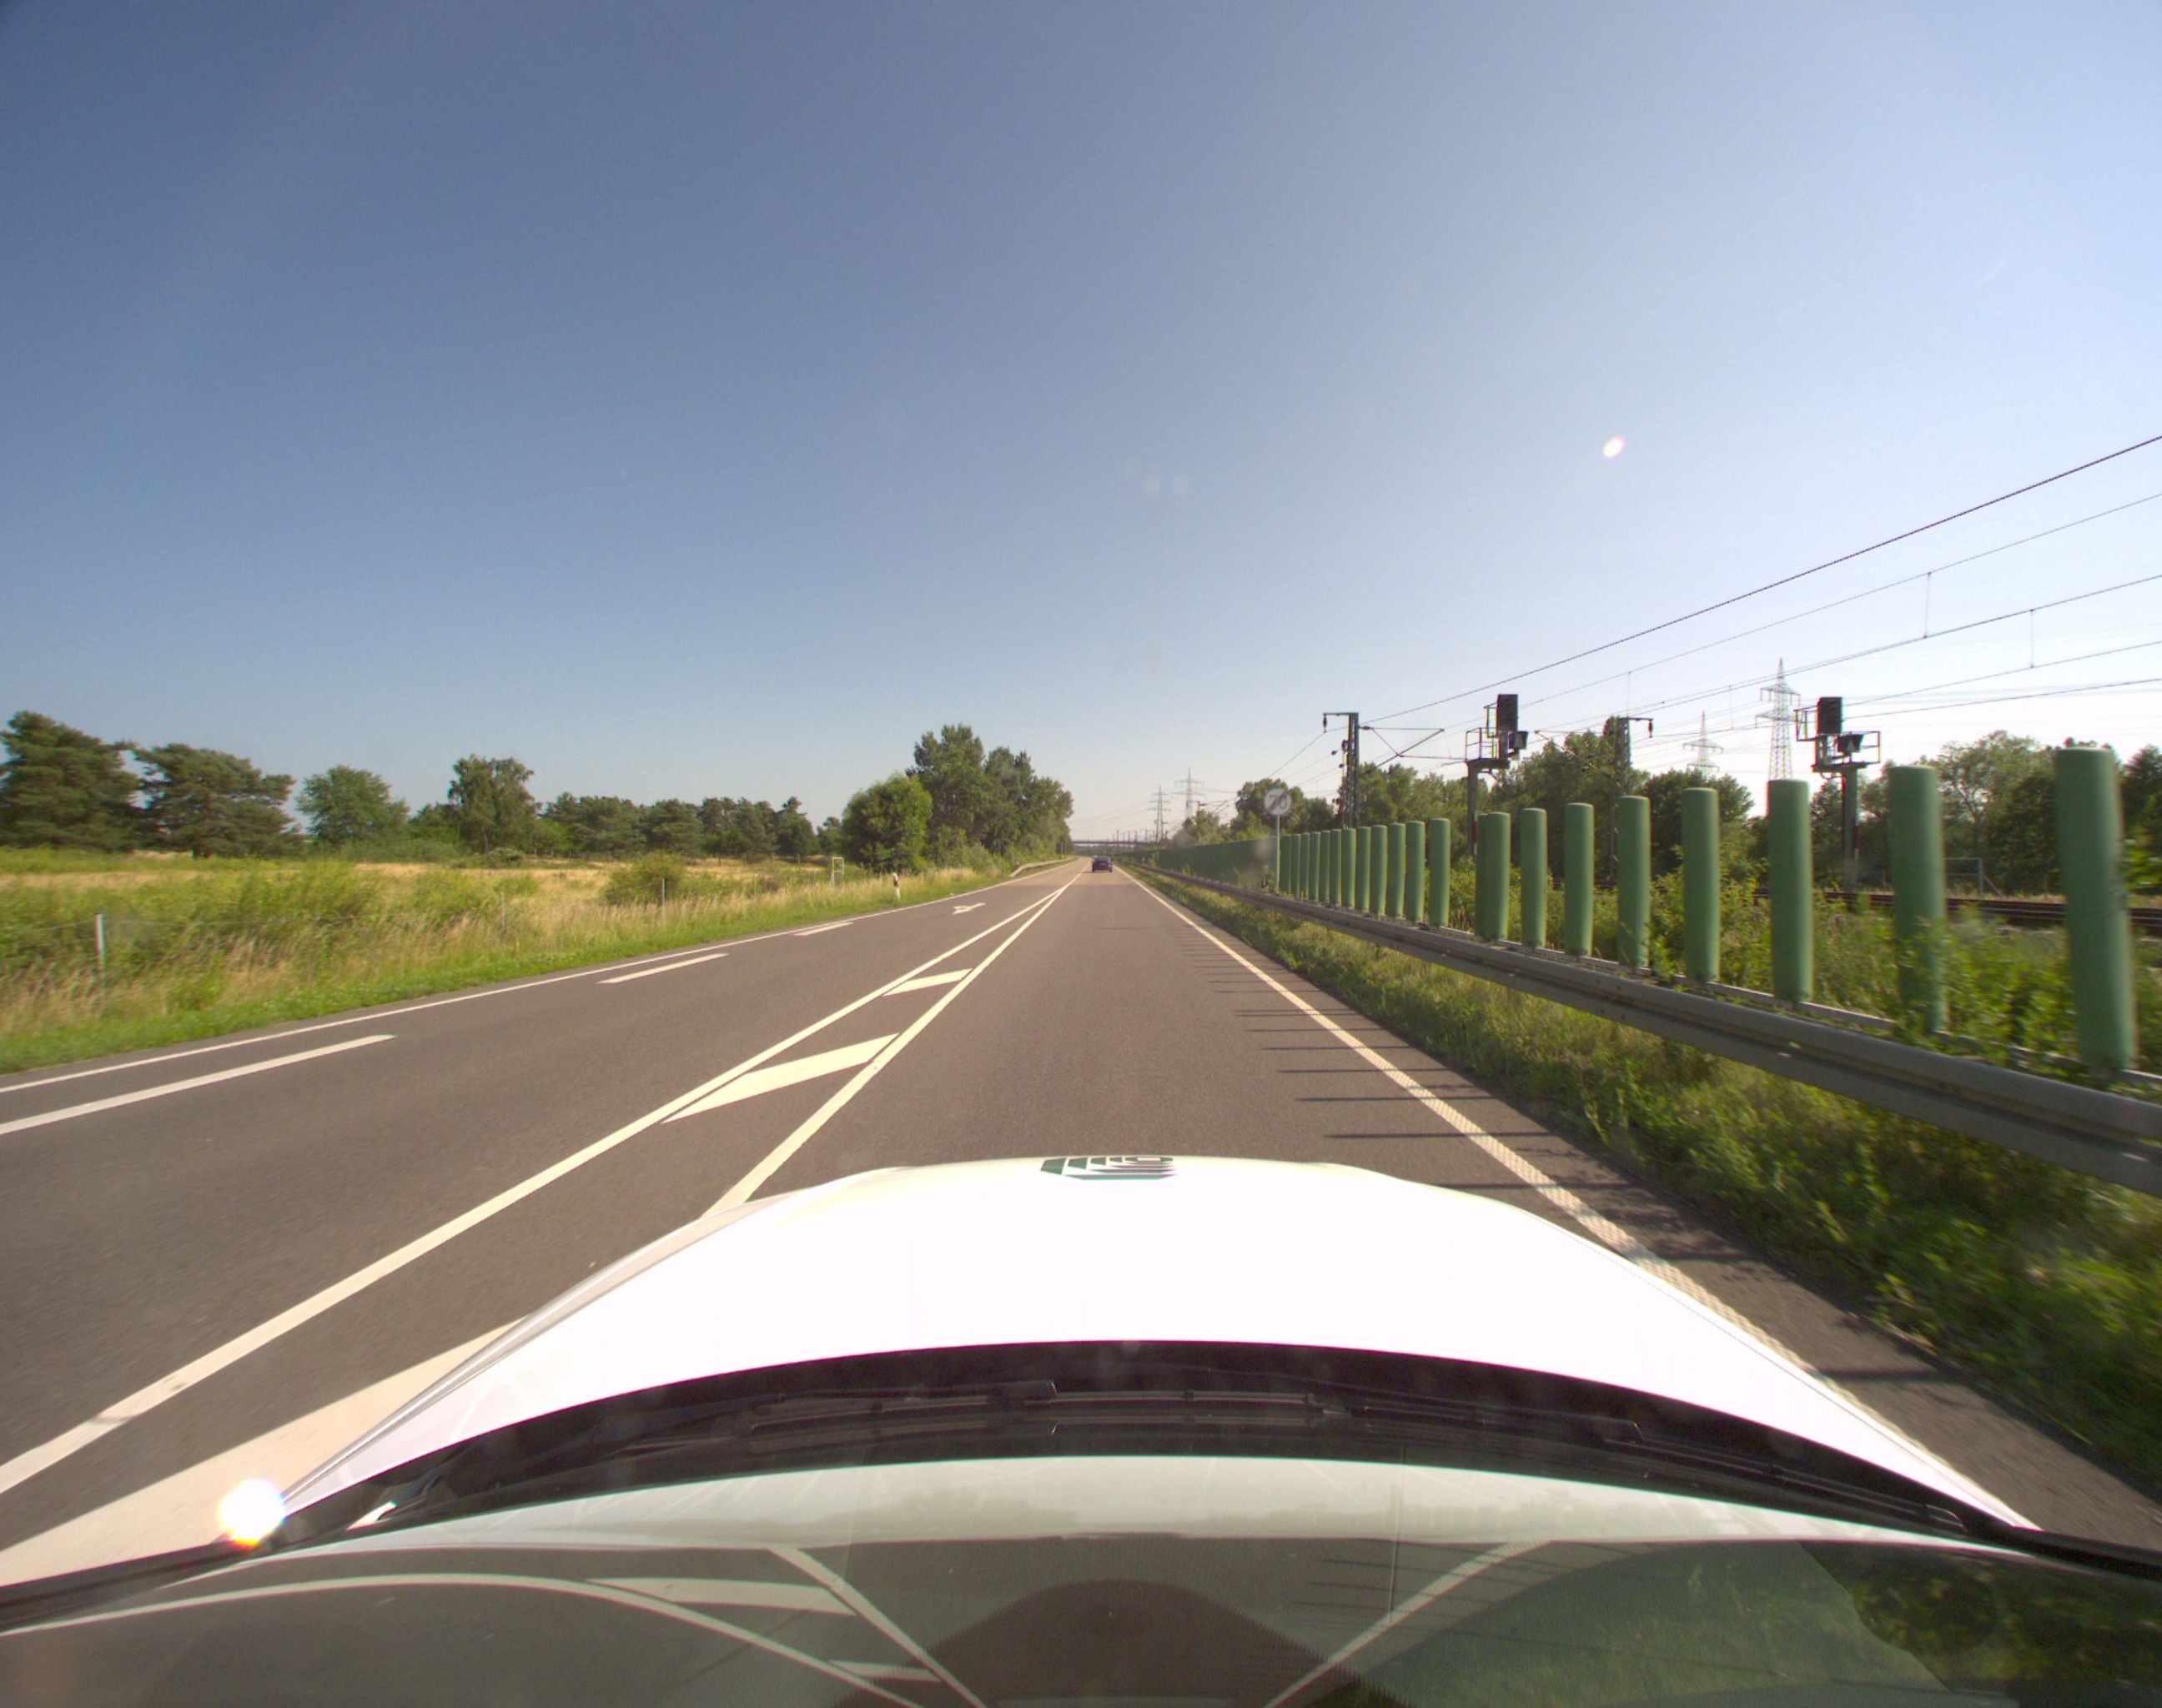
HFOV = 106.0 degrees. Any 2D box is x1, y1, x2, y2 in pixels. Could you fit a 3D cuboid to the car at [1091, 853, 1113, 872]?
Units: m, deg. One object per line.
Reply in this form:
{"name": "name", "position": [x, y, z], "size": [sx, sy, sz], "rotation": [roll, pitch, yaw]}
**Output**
{"name": "car", "position": [1.888, 0.763, 74.245], "size": [1.852, 1.642, 4.000], "rotation": [-1, 0, 0]}
